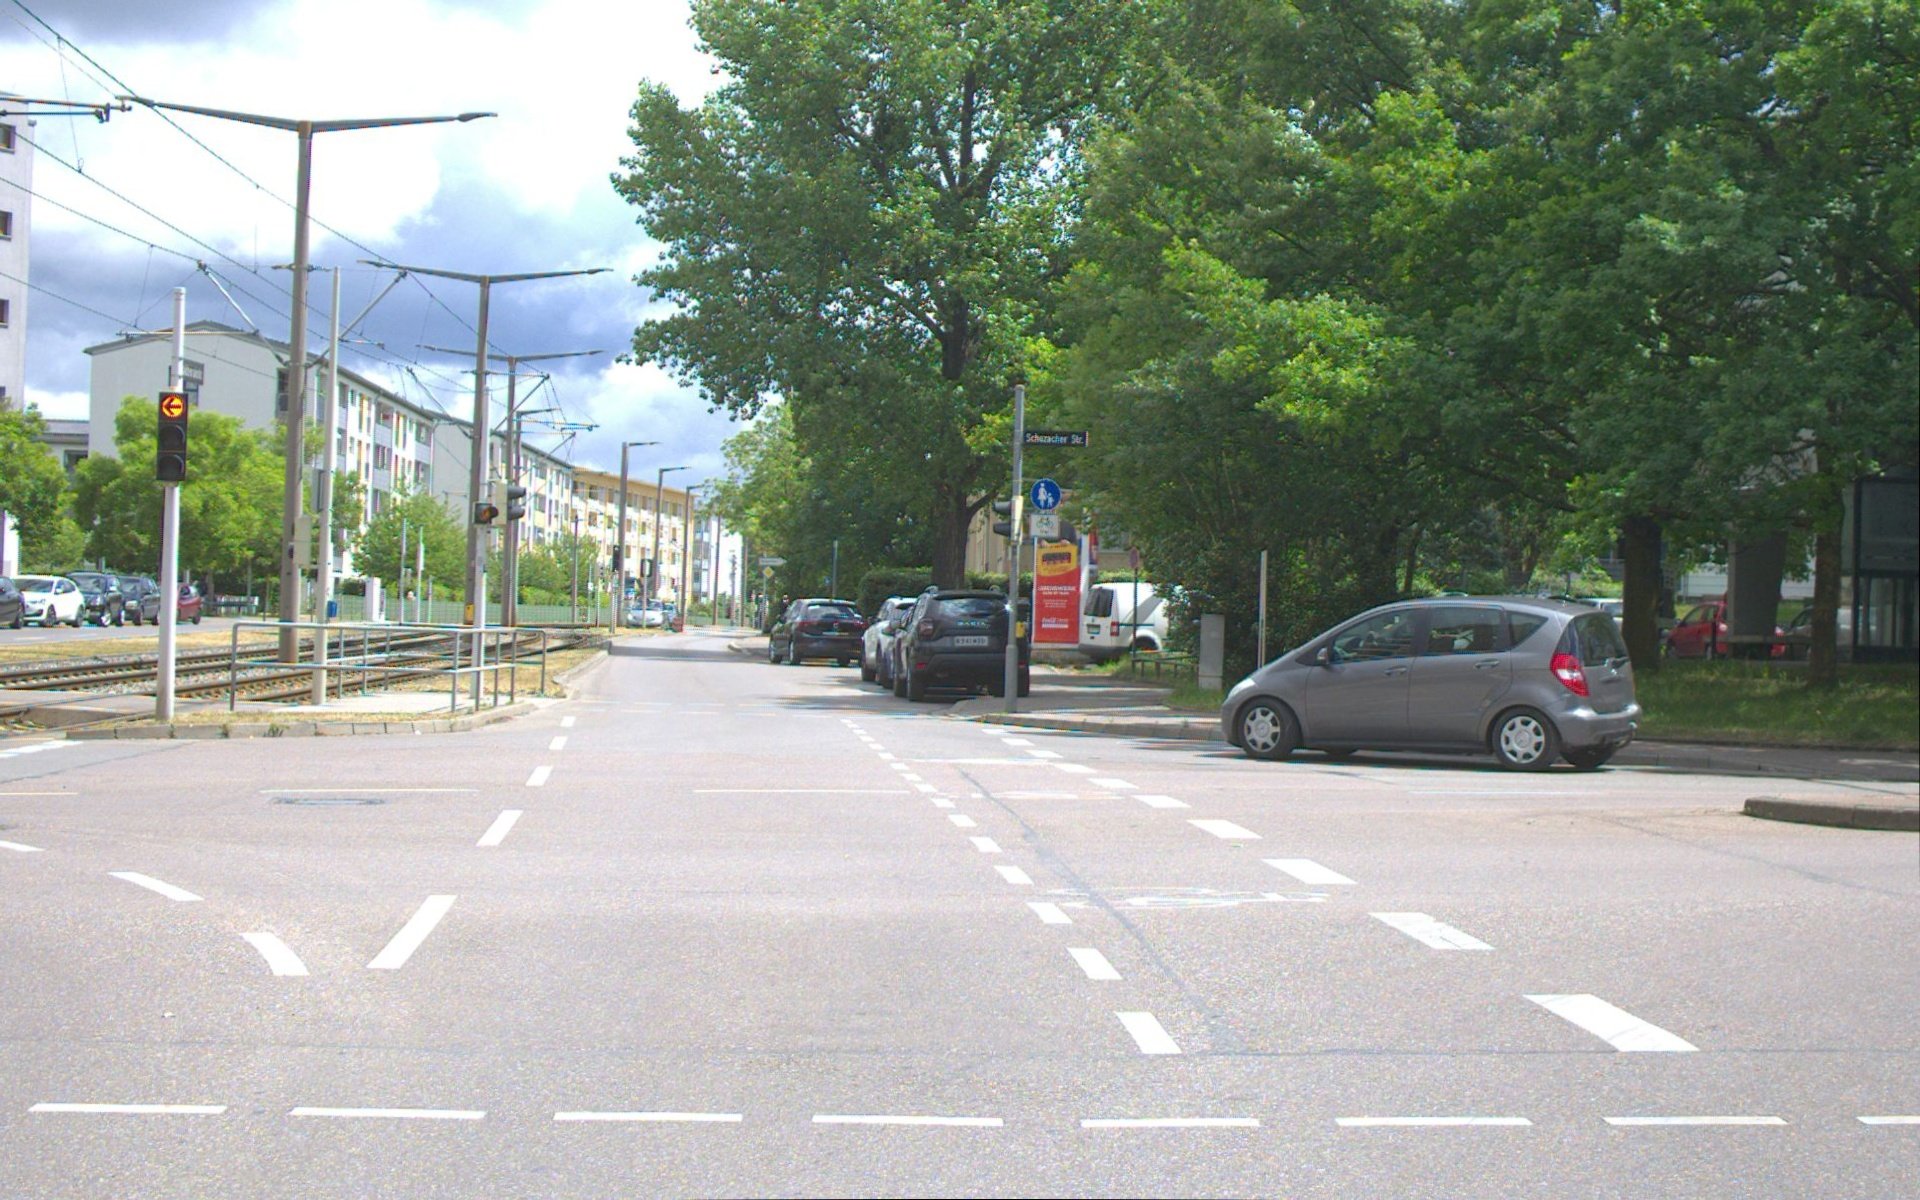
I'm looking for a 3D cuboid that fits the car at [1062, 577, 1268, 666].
[{"bbox_3d":[4.371,0.456,73.331,3.986,1.817,1.779,1,1,-23],"label":"car"}]

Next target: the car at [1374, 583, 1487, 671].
[{"bbox_3d":[10.206,0.562,74.822,1.630,1.804,4.033,1,1,-4],"label":"car"}]

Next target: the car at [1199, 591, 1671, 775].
[{"bbox_3d":[4.455,0.732,32.318,3.913,1.550,1.997,1,1,30],"label":"car"}]

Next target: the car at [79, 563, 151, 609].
[{"bbox_3d":[-26.929,-0.451,109.646,1.760,1.390,4.001,1,1,-7],"label":"car"}]

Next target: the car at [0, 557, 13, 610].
[{"bbox_3d":[-26.303,-0.456,91.095,1.760,1.390,4.001,1,1,-7],"label":"car"}]

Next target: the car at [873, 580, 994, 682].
[{"bbox_3d":[-0.466,0.528,59.255,1.993,1.678,4.000,1,0,-1],"label":"car"}]

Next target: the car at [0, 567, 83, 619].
[{"bbox_3d":[-26.287,-0.217,98.413,1.760,1.390,4.001,1,1,-7],"label":"car"}]

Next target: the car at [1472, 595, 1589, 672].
[{"bbox_3d":[12.467,0.717,75.349,1.630,1.567,4.033,1,1,-4],"label":"car"}]

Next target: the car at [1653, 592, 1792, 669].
[{"bbox_3d":[17.052,0.663,77.027,1.730,1.589,4.001,1,1,-8],"label":"car"}]

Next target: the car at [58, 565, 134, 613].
[{"bbox_3d":[-26.373,-0.360,105.082,1.760,1.390,4.001,1,1,-7],"label":"car"}]

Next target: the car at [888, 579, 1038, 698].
[{"bbox_3d":[0.024,0.565,51.808,2.152,1.678,4.000,1,0,-1],"label":"car"}]

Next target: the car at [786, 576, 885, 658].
[{"bbox_3d":[-2.666,0.354,74.425,1.993,1.678,4.000,1,1,-1],"label":"car"}]

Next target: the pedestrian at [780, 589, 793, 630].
[{"bbox_3d":[-6.909,0.373,137.074,0.478,1.631,0.454,1,1,-1],"label":"pedestrian"}]
